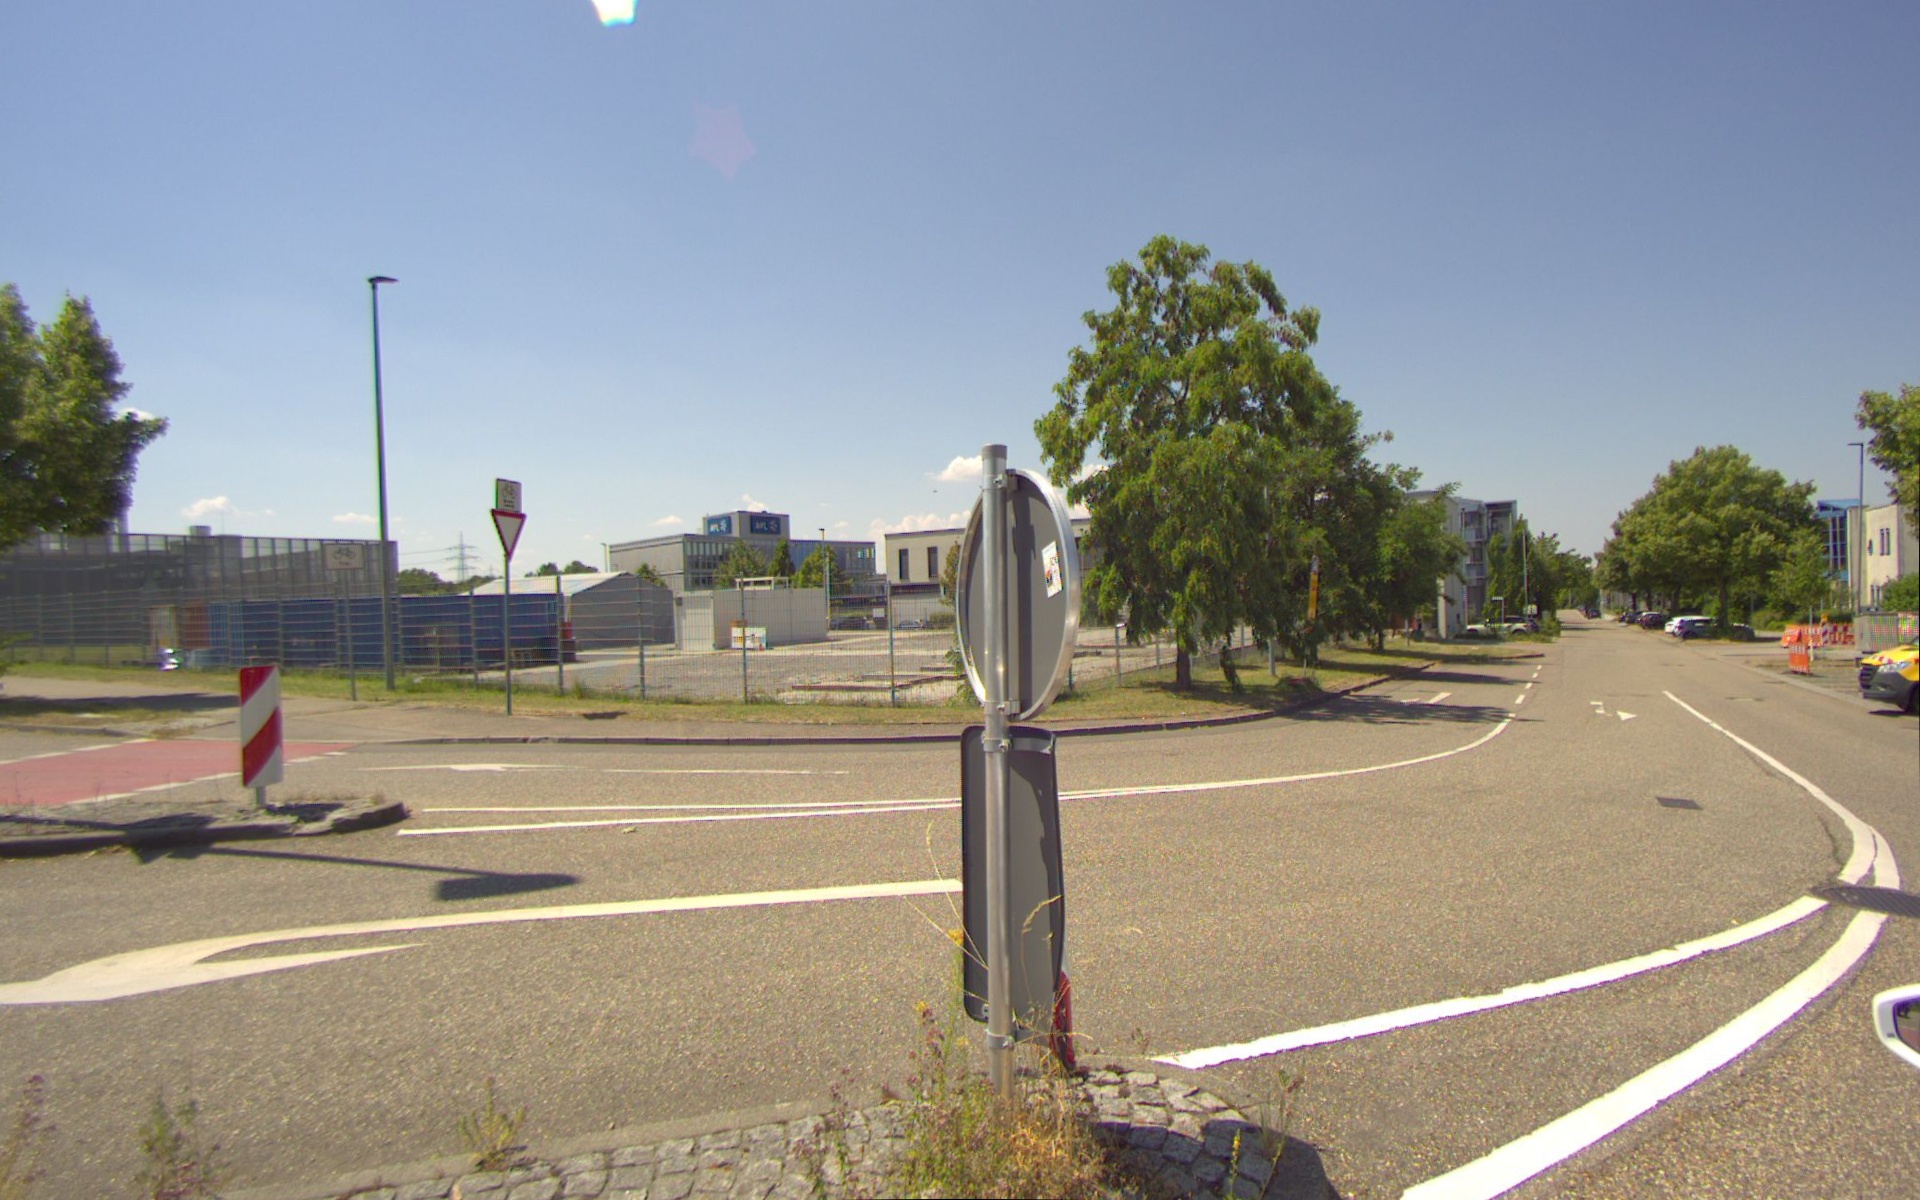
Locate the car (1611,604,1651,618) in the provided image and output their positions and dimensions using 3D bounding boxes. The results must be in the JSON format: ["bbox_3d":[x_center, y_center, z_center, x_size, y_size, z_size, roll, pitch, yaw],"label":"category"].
[{"bbox_3d":[84.452,1.372,126.469,3.870,1.599,1.765,0,3,24],"label":"car"}]

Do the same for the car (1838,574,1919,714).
[{"bbox_3d":[21.323,0.786,19.771,5.696,2.769,1.996,-3,-1,30],"label":"car"}]

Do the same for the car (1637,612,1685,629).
[{"bbox_3d":[67.310,1.971,96.557,3.669,1.648,1.810,0,-1,32],"label":"car"}]

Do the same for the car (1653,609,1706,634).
[{"bbox_3d":[63.451,1.895,88.674,3.669,2.139,1.810,0,-1,32],"label":"car"}]

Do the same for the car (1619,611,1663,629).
[{"bbox_3d":[78.392,2.288,115.648,3.870,1.860,1.765,0,3,24],"label":"car"}]

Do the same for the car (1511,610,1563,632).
[{"bbox_3d":[39.745,1.424,69.207,3.010,1.498,1.291,0,0,25],"label":"car"}]

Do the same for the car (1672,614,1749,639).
[{"bbox_3d":[48.053,1.691,64.399,3.624,1.372,1.643,-4,-2,28],"label":"car"}]

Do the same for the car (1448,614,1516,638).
[{"bbox_3d":[34.761,1.700,66.859,3.986,1.515,1.726,0,-1,29],"label":"car"}]

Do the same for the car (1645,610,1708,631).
[{"bbox_3d":[52.298,1.481,73.361,3.464,1.372,1.536,-4,-2,28],"label":"car"}]

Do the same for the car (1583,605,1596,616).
[{"bbox_3d":[101.392,1.637,161.845,1.736,1.778,3.935,0,-1,32],"label":"car"}]

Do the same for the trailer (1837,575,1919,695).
[{"bbox_3d":[25.380,0.817,26.050,2.617,2.894,5.512,-3,-2,28],"label":"trailer"}]

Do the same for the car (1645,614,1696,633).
[{"bbox_3d":[64.985,2.153,91.881,3.669,1.648,1.810,0,-1,32],"label":"car"}]
